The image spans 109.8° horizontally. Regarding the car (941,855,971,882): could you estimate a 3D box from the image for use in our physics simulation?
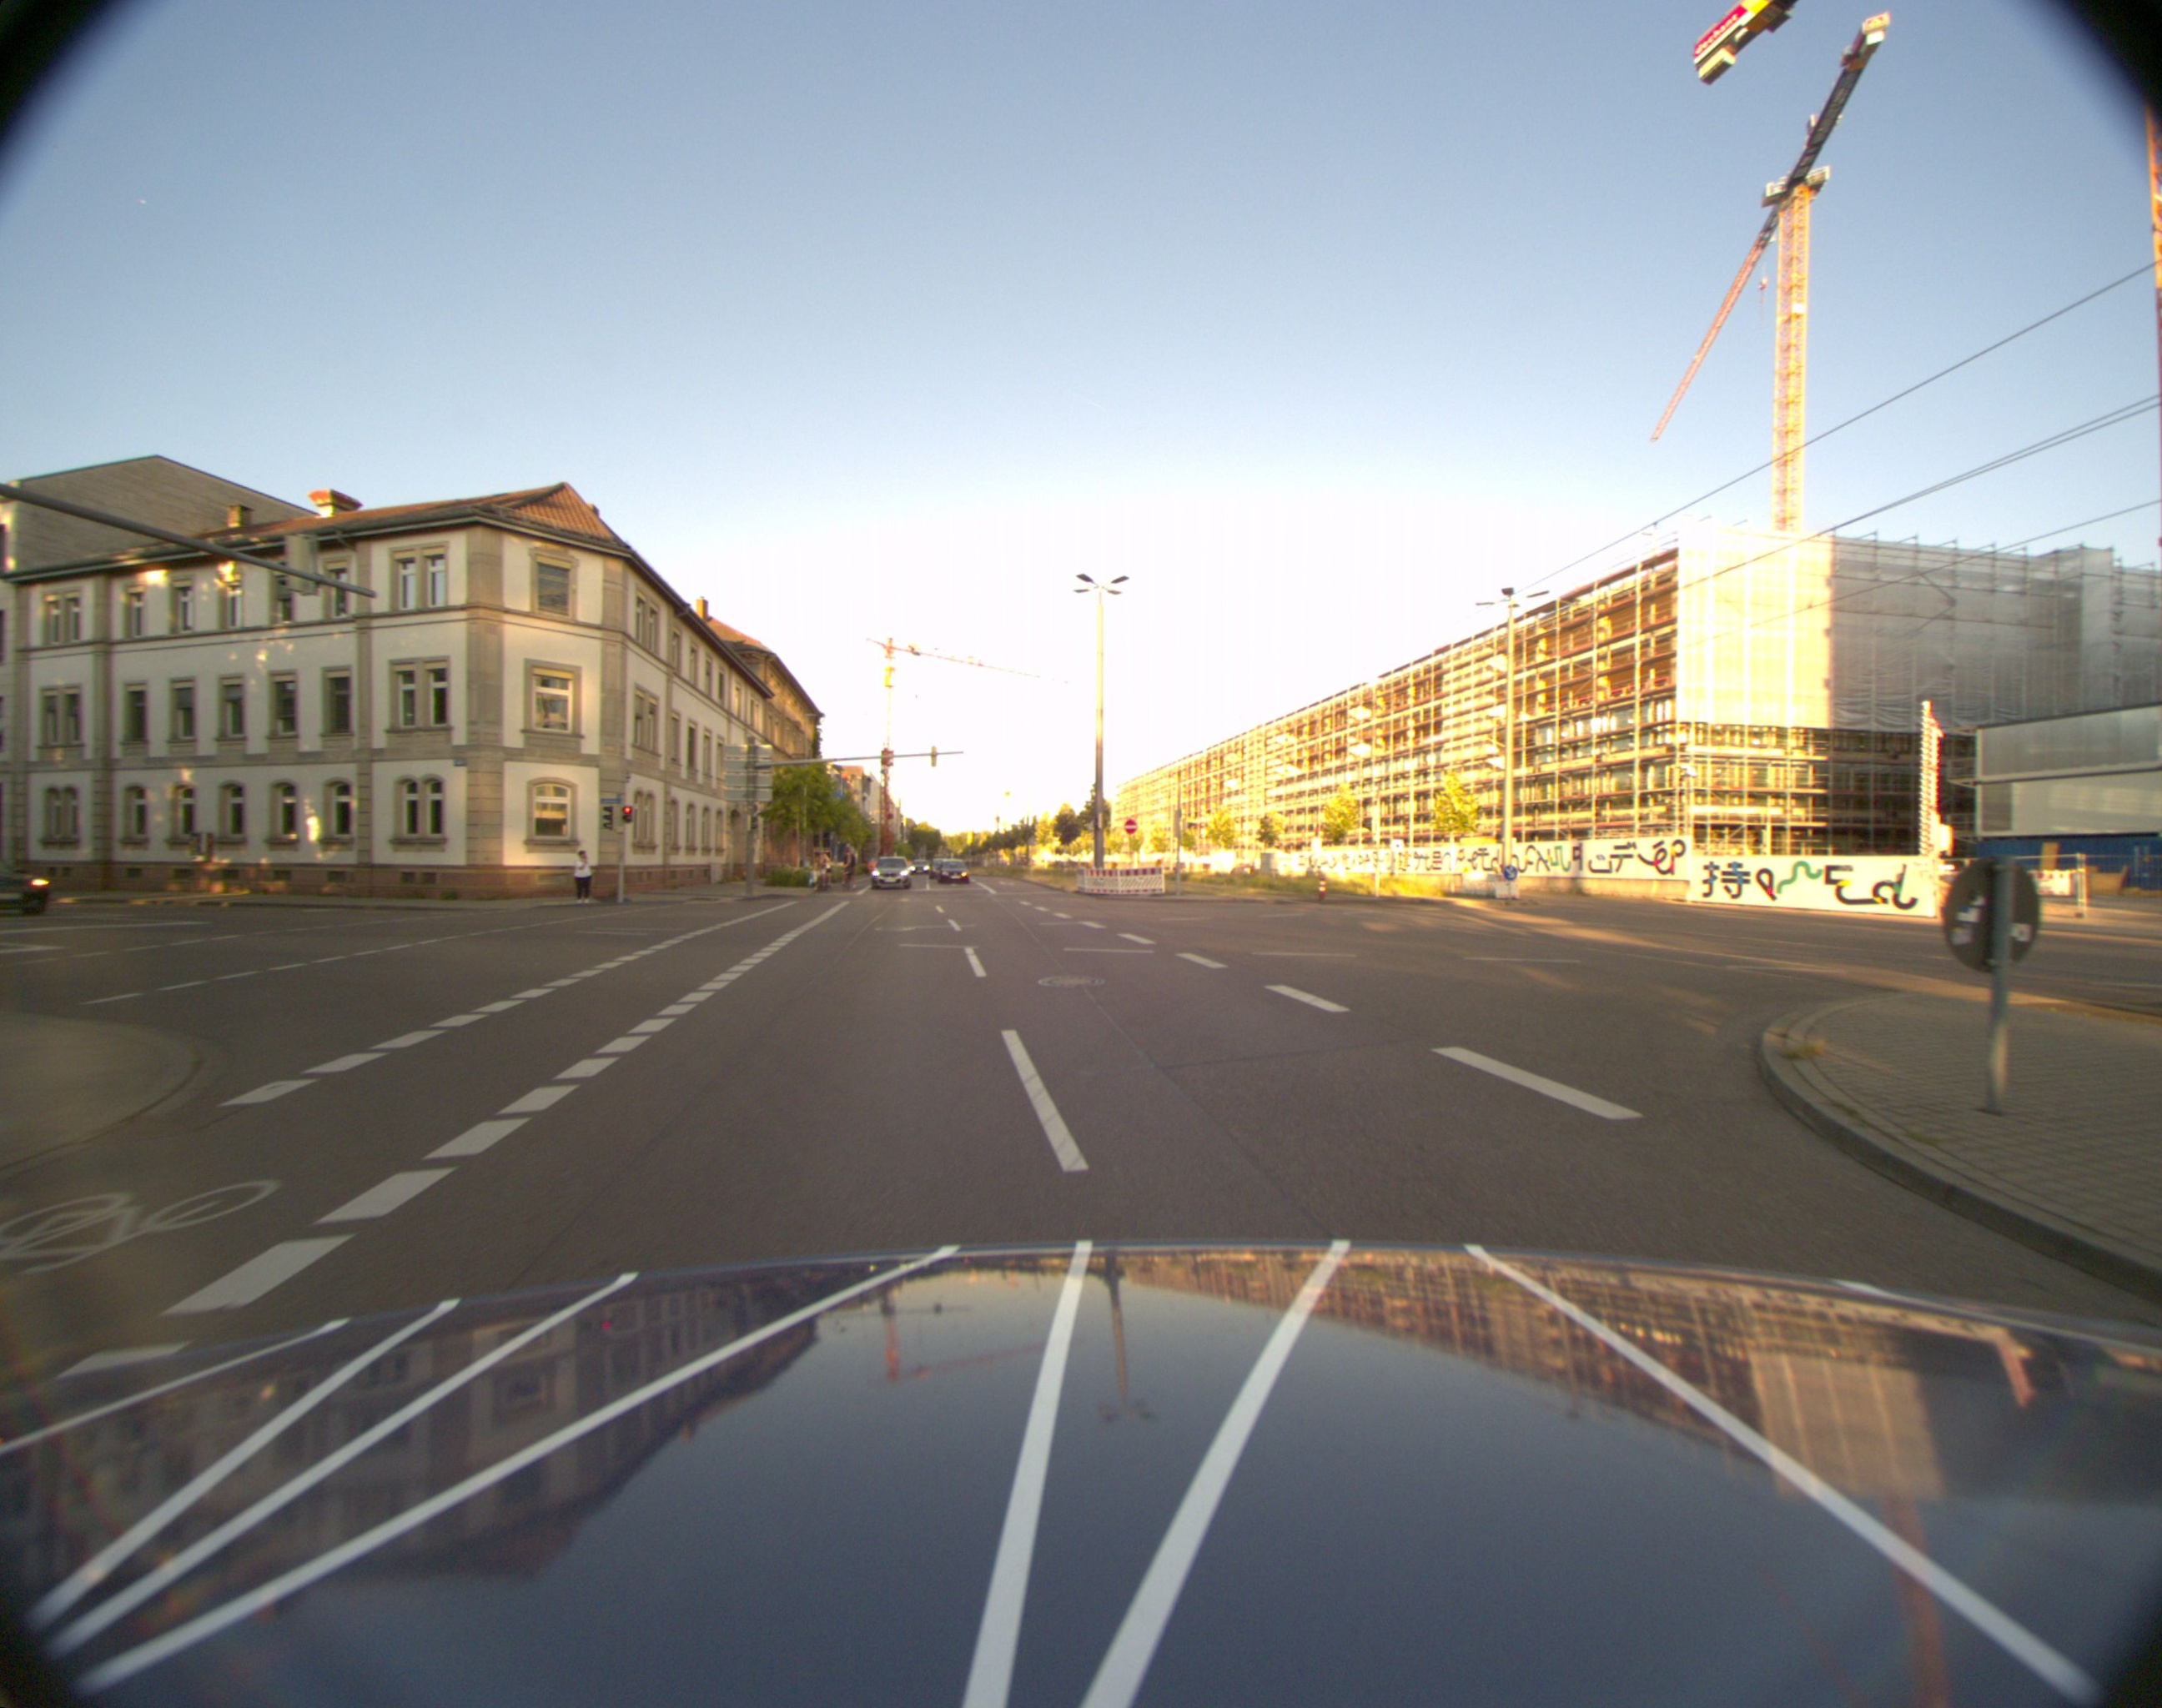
[{"bbox_3d":[-7.697,0.856,46.679,1.704,1.588,4.256,0,0,-10],"label":"car"}]

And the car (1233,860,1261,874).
[{"bbox_3d":[18.499,1.480,84.747,1.669,1.446,4.066,2,0,-7],"label":"car"}]

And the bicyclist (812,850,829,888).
[{"bbox_3d":[-12.210,0.694,35.639,0.510,1.691,0.767,3,2,-8],"label":"bicyclist"}]

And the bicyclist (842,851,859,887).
[{"bbox_3d":[-10.875,0.697,35.873,0.706,1.691,0.767,-1,2,-15],"label":"bicyclist"}]

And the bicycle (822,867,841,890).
[{"bbox_3d":[-12.424,1.199,37.831,0.518,1.045,2.042,2,0,-8],"label":"bicycle"}]

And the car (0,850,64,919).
[{"bbox_3d":[-25.316,0.667,17.061,3.568,1.507,1.833,0,-2,18],"label":"car"}]

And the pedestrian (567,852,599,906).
[{"bbox_3d":[-15.676,0.780,23.929,0.820,1.647,0.635,1,0,-30],"label":"pedestrian"}]

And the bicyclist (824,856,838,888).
[{"bbox_3d":[-12.386,0.879,37.647,0.512,1.539,0.692,2,0,-8],"label":"bicyclist"}]

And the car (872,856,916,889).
[{"bbox_3d":[-9.431,0.894,38.534,1.835,1.588,4.256,0,0,-10],"label":"car"}]

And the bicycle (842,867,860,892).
[{"bbox_3d":[-10.841,1.193,35.822,0.722,1.045,2.041,-2,1,-15],"label":"bicycle"}]

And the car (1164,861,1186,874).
[{"bbox_3d":[12.060,1.703,97.710,1.786,1.508,4.066,3,0,-6],"label":"car"}]

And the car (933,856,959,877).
[{"bbox_3d":[-10.253,0.920,57.608,1.863,1.588,4.256,0,0,-10],"label":"car"}]

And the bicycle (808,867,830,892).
[{"bbox_3d":[-12.229,1.175,35.539,0.529,1.045,2.046,3,1,-8],"label":"bicycle"}]

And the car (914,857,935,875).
[{"bbox_3d":[-15.185,1.124,73.717,1.881,1.652,3.758,0,0,-10],"label":"car"}]

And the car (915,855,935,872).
[{"bbox_3d":[-15.084,0.902,73.508,1.704,1.588,3.886,0,0,-10],"label":"car"}]
